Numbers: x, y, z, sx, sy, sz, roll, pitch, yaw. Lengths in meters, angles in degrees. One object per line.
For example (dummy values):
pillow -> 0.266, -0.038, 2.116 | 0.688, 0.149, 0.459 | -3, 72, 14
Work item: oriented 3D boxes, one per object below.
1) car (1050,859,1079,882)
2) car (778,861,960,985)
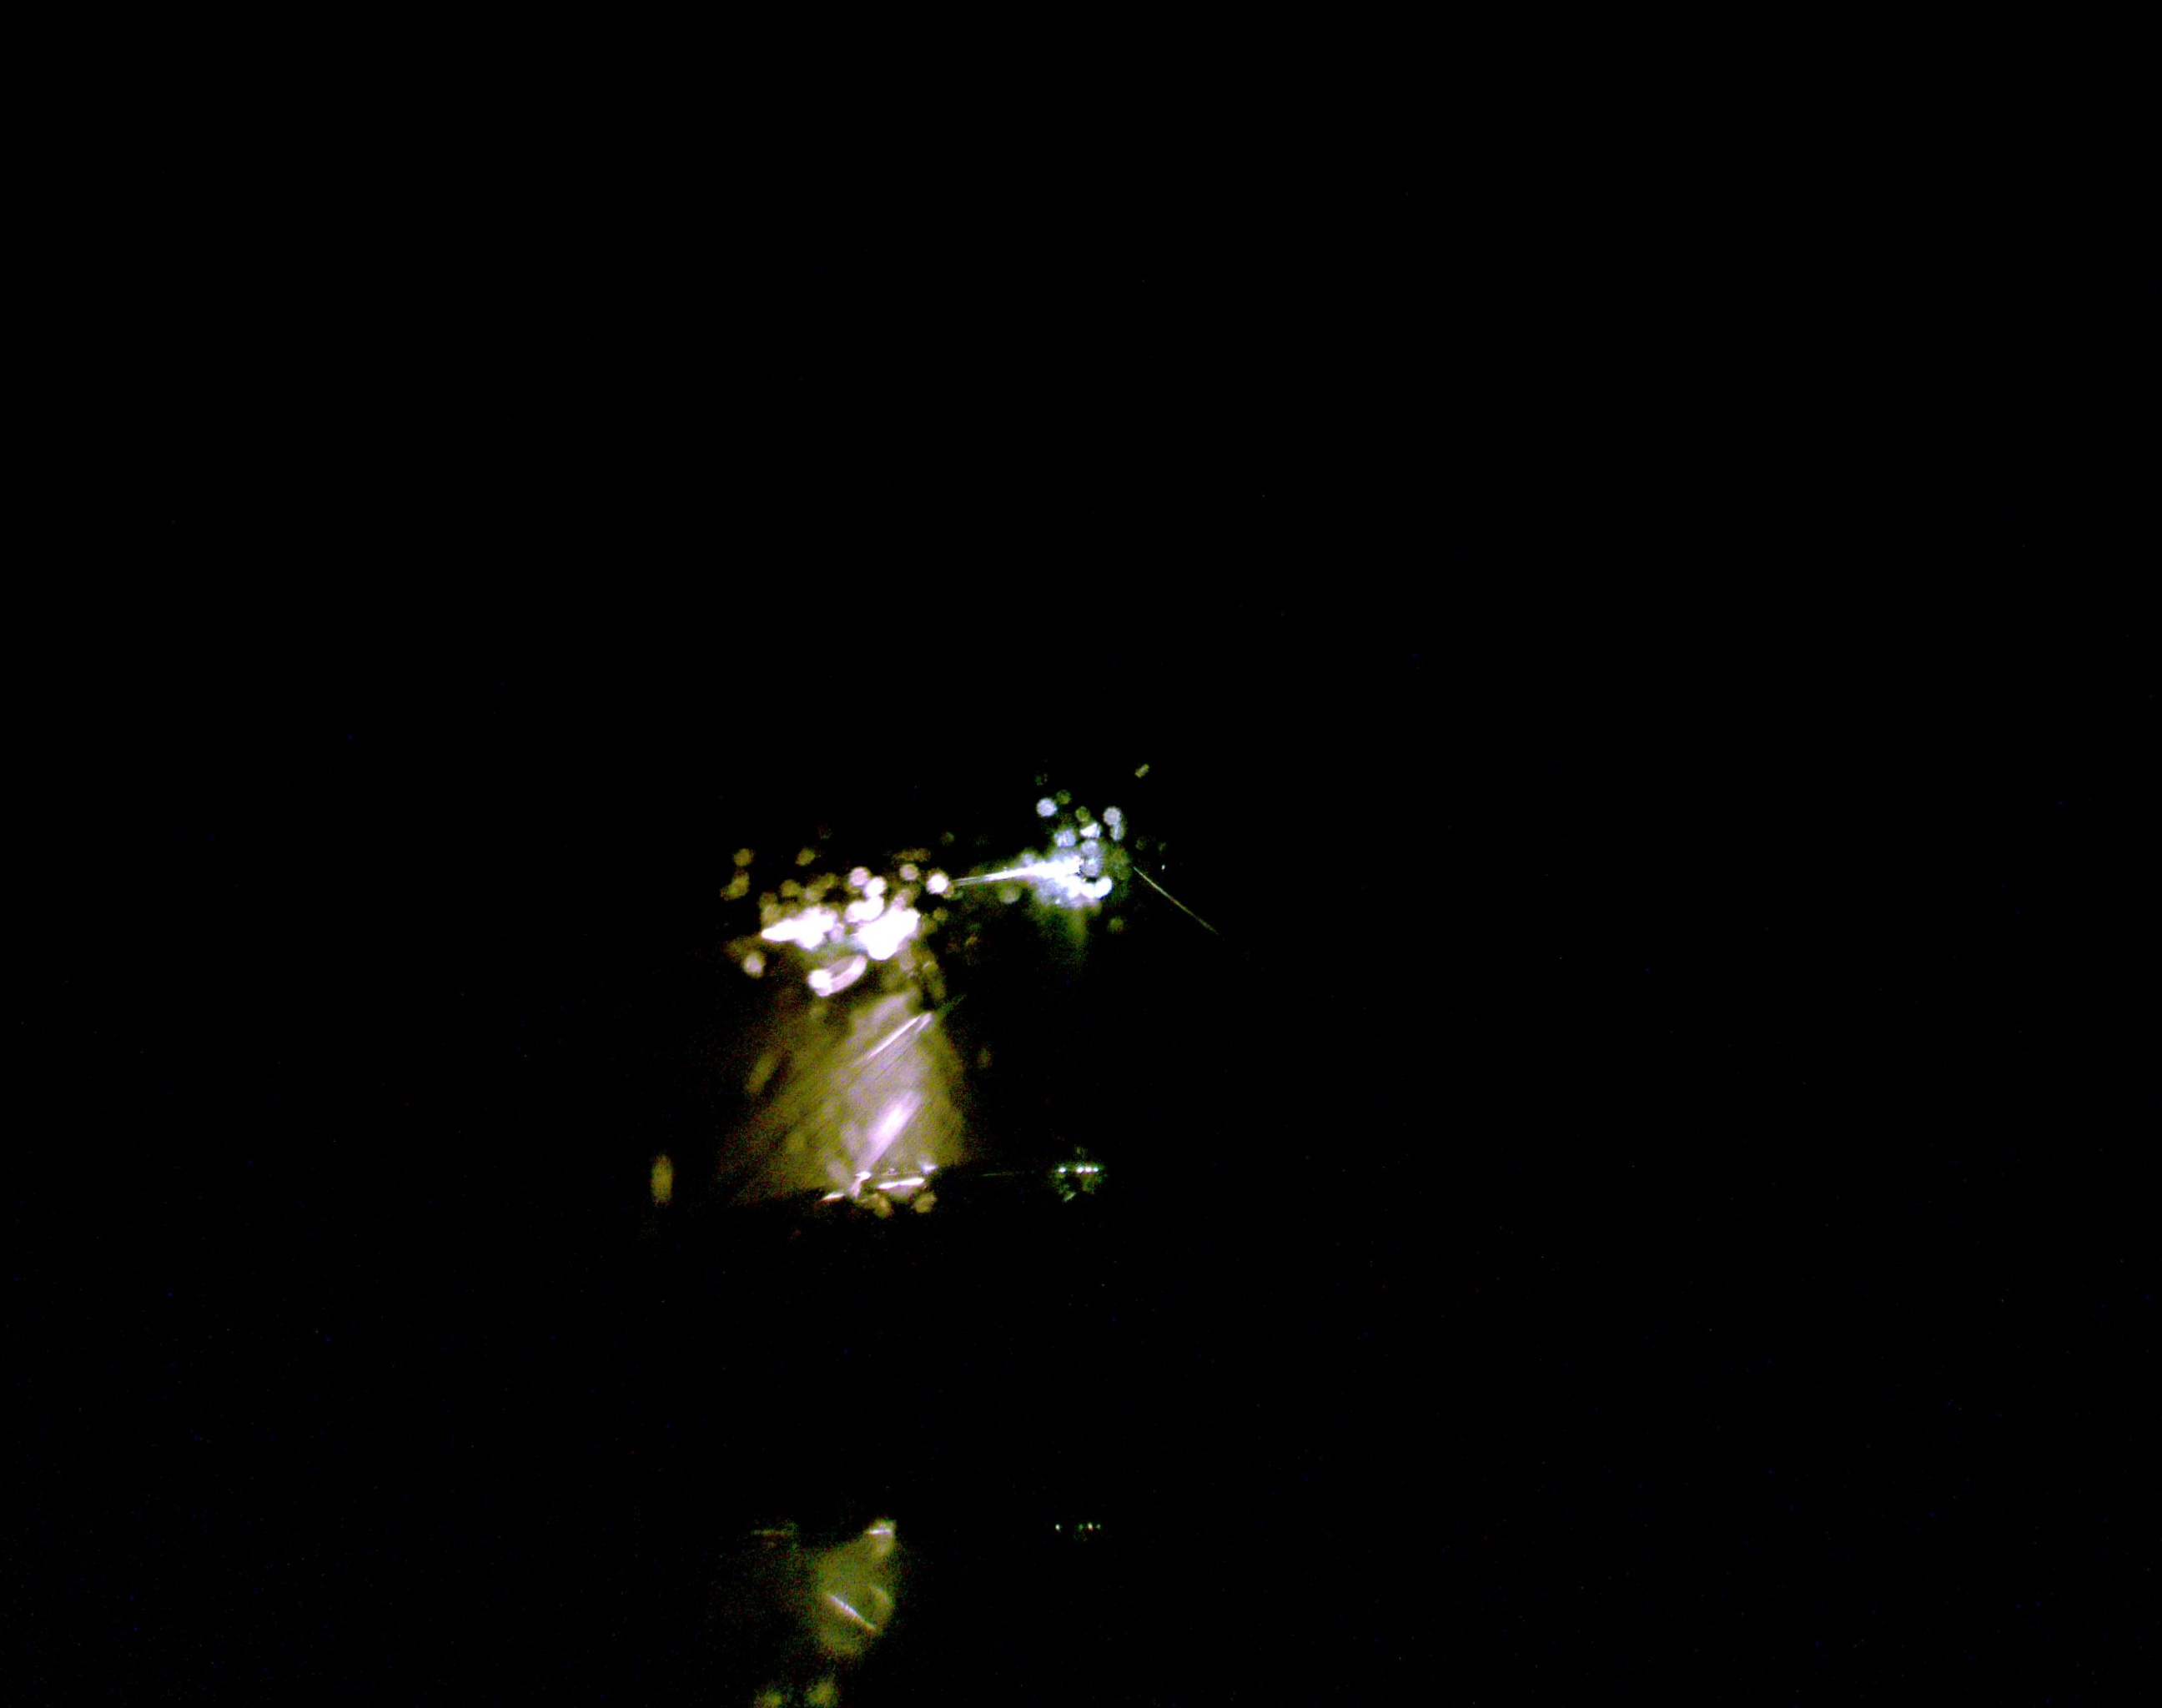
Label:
car -> -1.172, 1.183, 58.961 | 1.821, 1.456, 3.795 | -3, 1, 2
car -> -3.029, 0.912, 12.427 | 1.710, 1.470, 3.708 | -2, 1, 1
